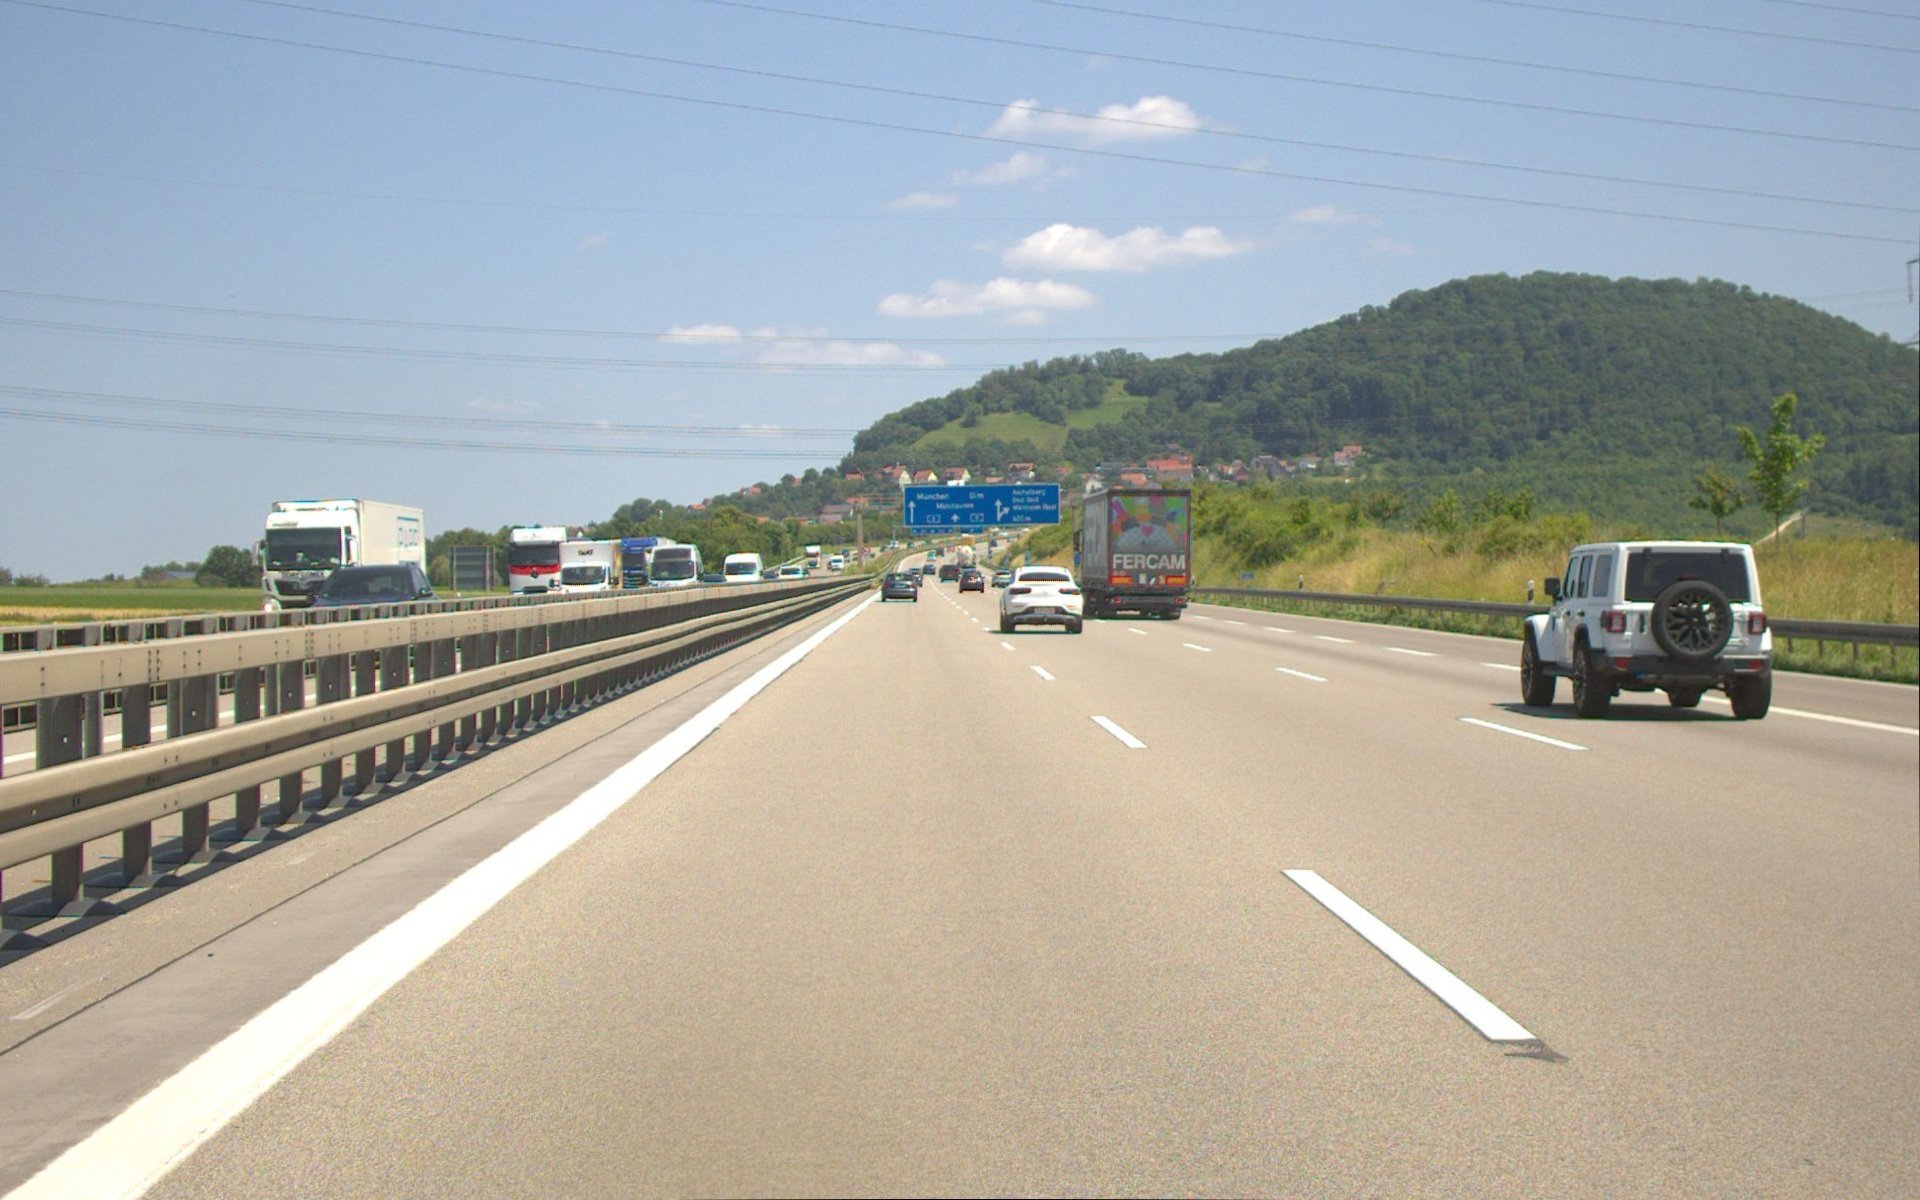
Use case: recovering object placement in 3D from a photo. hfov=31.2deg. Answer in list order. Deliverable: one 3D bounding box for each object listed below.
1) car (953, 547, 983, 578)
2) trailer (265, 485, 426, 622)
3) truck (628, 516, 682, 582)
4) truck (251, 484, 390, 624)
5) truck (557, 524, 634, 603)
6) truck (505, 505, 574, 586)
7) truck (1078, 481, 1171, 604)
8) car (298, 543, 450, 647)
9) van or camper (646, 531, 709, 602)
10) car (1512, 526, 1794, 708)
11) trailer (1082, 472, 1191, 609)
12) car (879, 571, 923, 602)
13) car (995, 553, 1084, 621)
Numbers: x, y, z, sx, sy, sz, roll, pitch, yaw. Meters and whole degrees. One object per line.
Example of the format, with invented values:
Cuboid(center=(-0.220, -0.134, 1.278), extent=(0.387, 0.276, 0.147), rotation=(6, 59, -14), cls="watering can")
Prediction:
Cuboid(center=(0.521, -2.487, 228.268), extent=(1.993, 2.007, 4.000), rotation=(1, 0, 0), cls="car")
Cuboid(center=(-18.747, -1.396, 105.674), extent=(2.957, 3.904, 12.895), rotation=(1, 0, -2), cls="trailer")
Cuboid(center=(-19.351, -3.239, 218.452), extent=(2.820, 4.075, 7.532), rotation=(1, 0, -1), cls="truck")
Cuboid(center=(-18.605, -1.326, 100.403), extent=(2.939, 3.917, 6.477), rotation=(1, 0, -1), cls="truck")
Cuboid(center=(-14.575, -1.456, 137.738), extent=(2.249, 2.999, 7.428), rotation=(-2, 1, -1), cls="truck")
Cuboid(center=(-19.482, -2.507, 159.551), extent=(2.717, 3.678, 6.057), rotation=(1, 0, -3), cls="truck")
Cuboid(center=(5.534, -1.916, 116.490), extent=(2.752, 4.007, 6.789), rotation=(1, 0, 0), cls="truck")
Cuboid(center=(-9.949, -0.097, 58.658), extent=(1.810, 1.635, 4.428), rotation=(-2, 0, -1), cls="car")
Cuboid(center=(-11.218, -1.327, 136.834), extent=(2.157, 2.726, 7.296), rotation=(1, 0, -2), cls="van or camper")
Cuboid(center=(7.362, 0.144, 36.945), extent=(2.034, 1.798, 4.251), rotation=(-1, 1, -2), cls="car")
Cuboid(center=(5.596, -1.863, 111.019), extent=(2.725, 4.141, 11.809), rotation=(1, 0, -1), cls="trailer")
Cuboid(center=(-2.778, -0.642, 161.532), extent=(1.993, 1.384, 4.000), rotation=(1, 0, 0), cls="car")
Cuboid(center=(1.904, -0.333, 83.681), extent=(1.914, 1.575, 5.231), rotation=(1, 0, -1), cls="car")
